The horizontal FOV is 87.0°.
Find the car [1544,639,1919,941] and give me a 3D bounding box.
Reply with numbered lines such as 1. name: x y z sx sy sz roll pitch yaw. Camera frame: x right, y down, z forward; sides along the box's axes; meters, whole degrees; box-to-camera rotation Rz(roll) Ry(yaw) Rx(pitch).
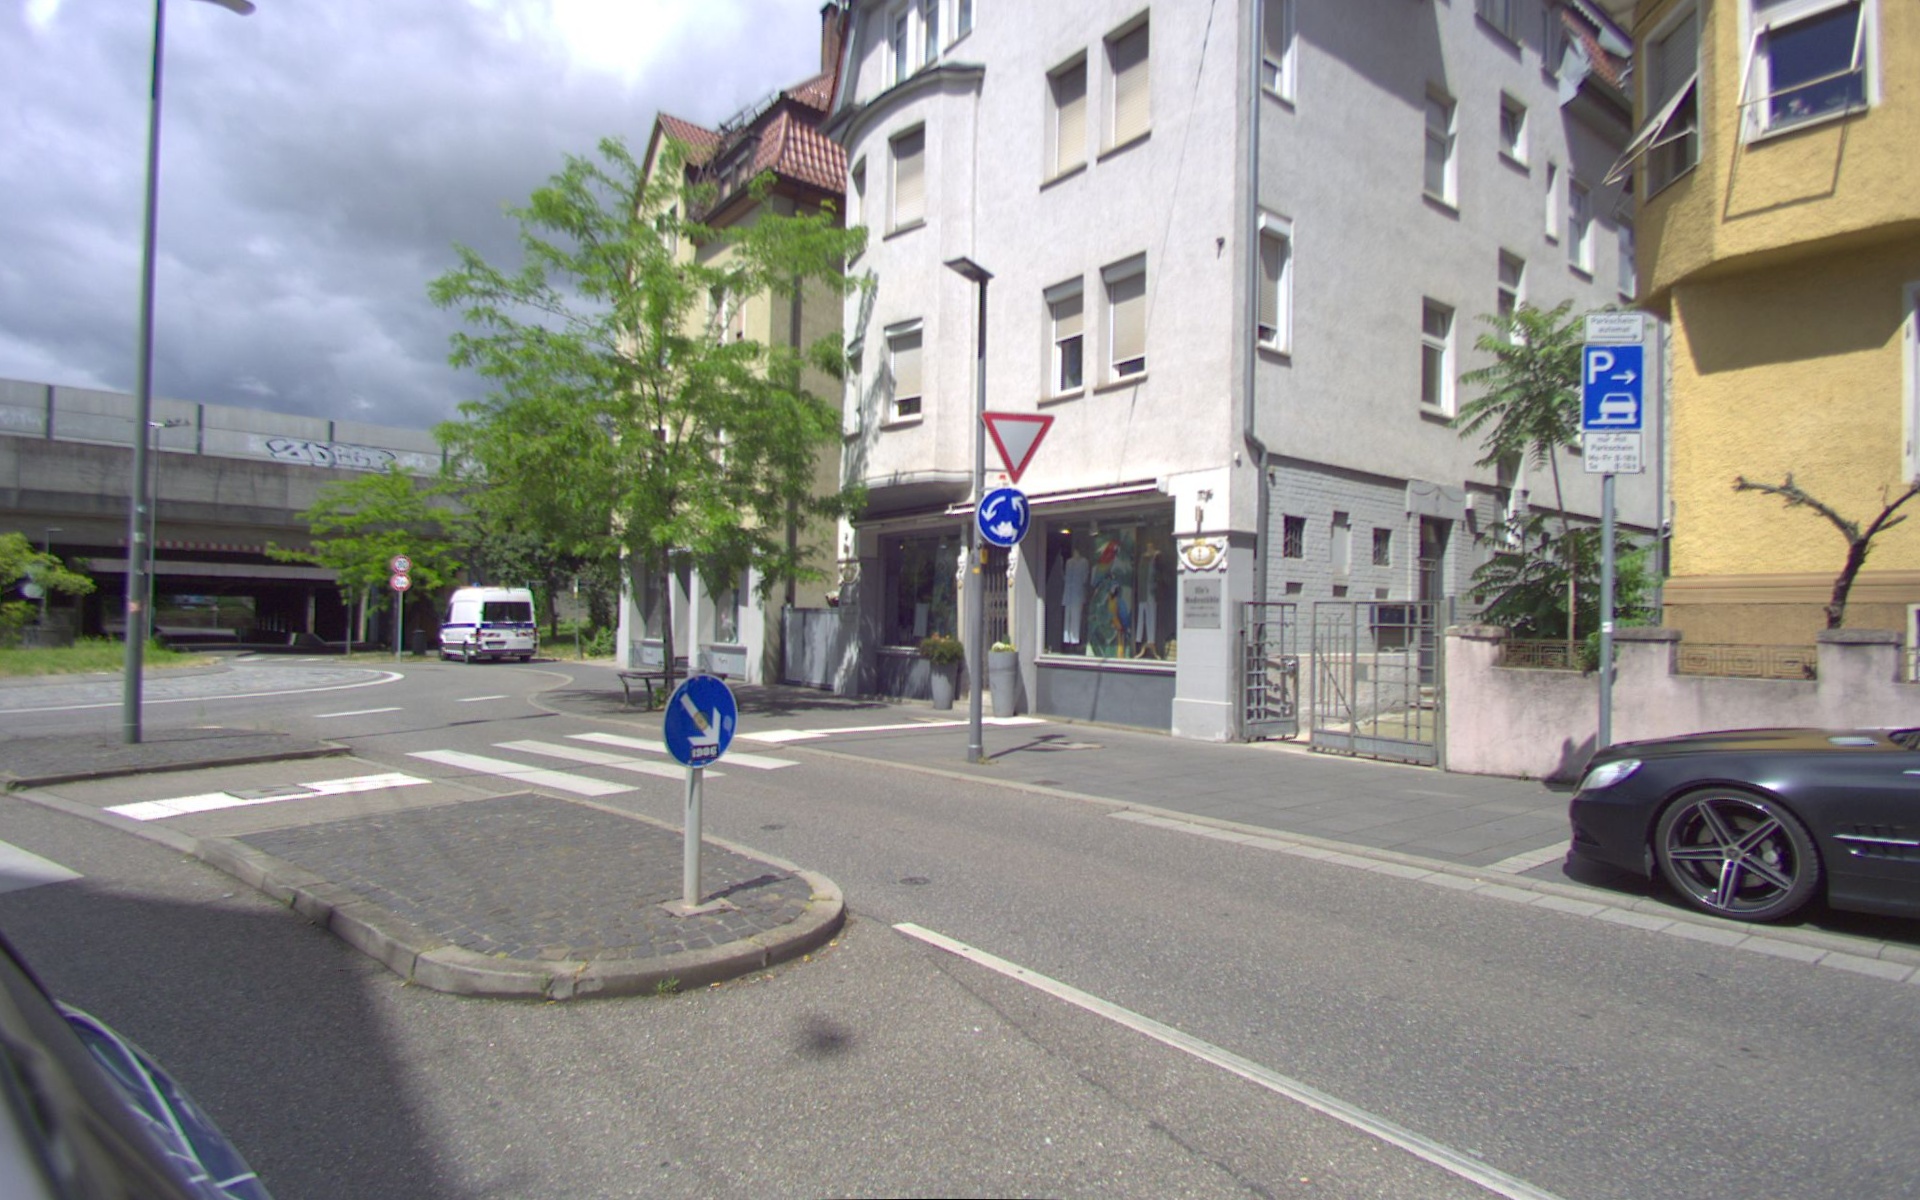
1. car: 5.224 0.822 4.313 1.688 1.255 4.419 0 -2 -39

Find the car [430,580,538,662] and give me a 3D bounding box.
1. car: -16.703 0.724 35.334 1.943 2.626 5.940 0 -1 -40

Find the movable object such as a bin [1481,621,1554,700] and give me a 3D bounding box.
1. movable object such as a bin: 8.667 0.919 15.732 0.925 1.130 0.714 -2 1 -41
